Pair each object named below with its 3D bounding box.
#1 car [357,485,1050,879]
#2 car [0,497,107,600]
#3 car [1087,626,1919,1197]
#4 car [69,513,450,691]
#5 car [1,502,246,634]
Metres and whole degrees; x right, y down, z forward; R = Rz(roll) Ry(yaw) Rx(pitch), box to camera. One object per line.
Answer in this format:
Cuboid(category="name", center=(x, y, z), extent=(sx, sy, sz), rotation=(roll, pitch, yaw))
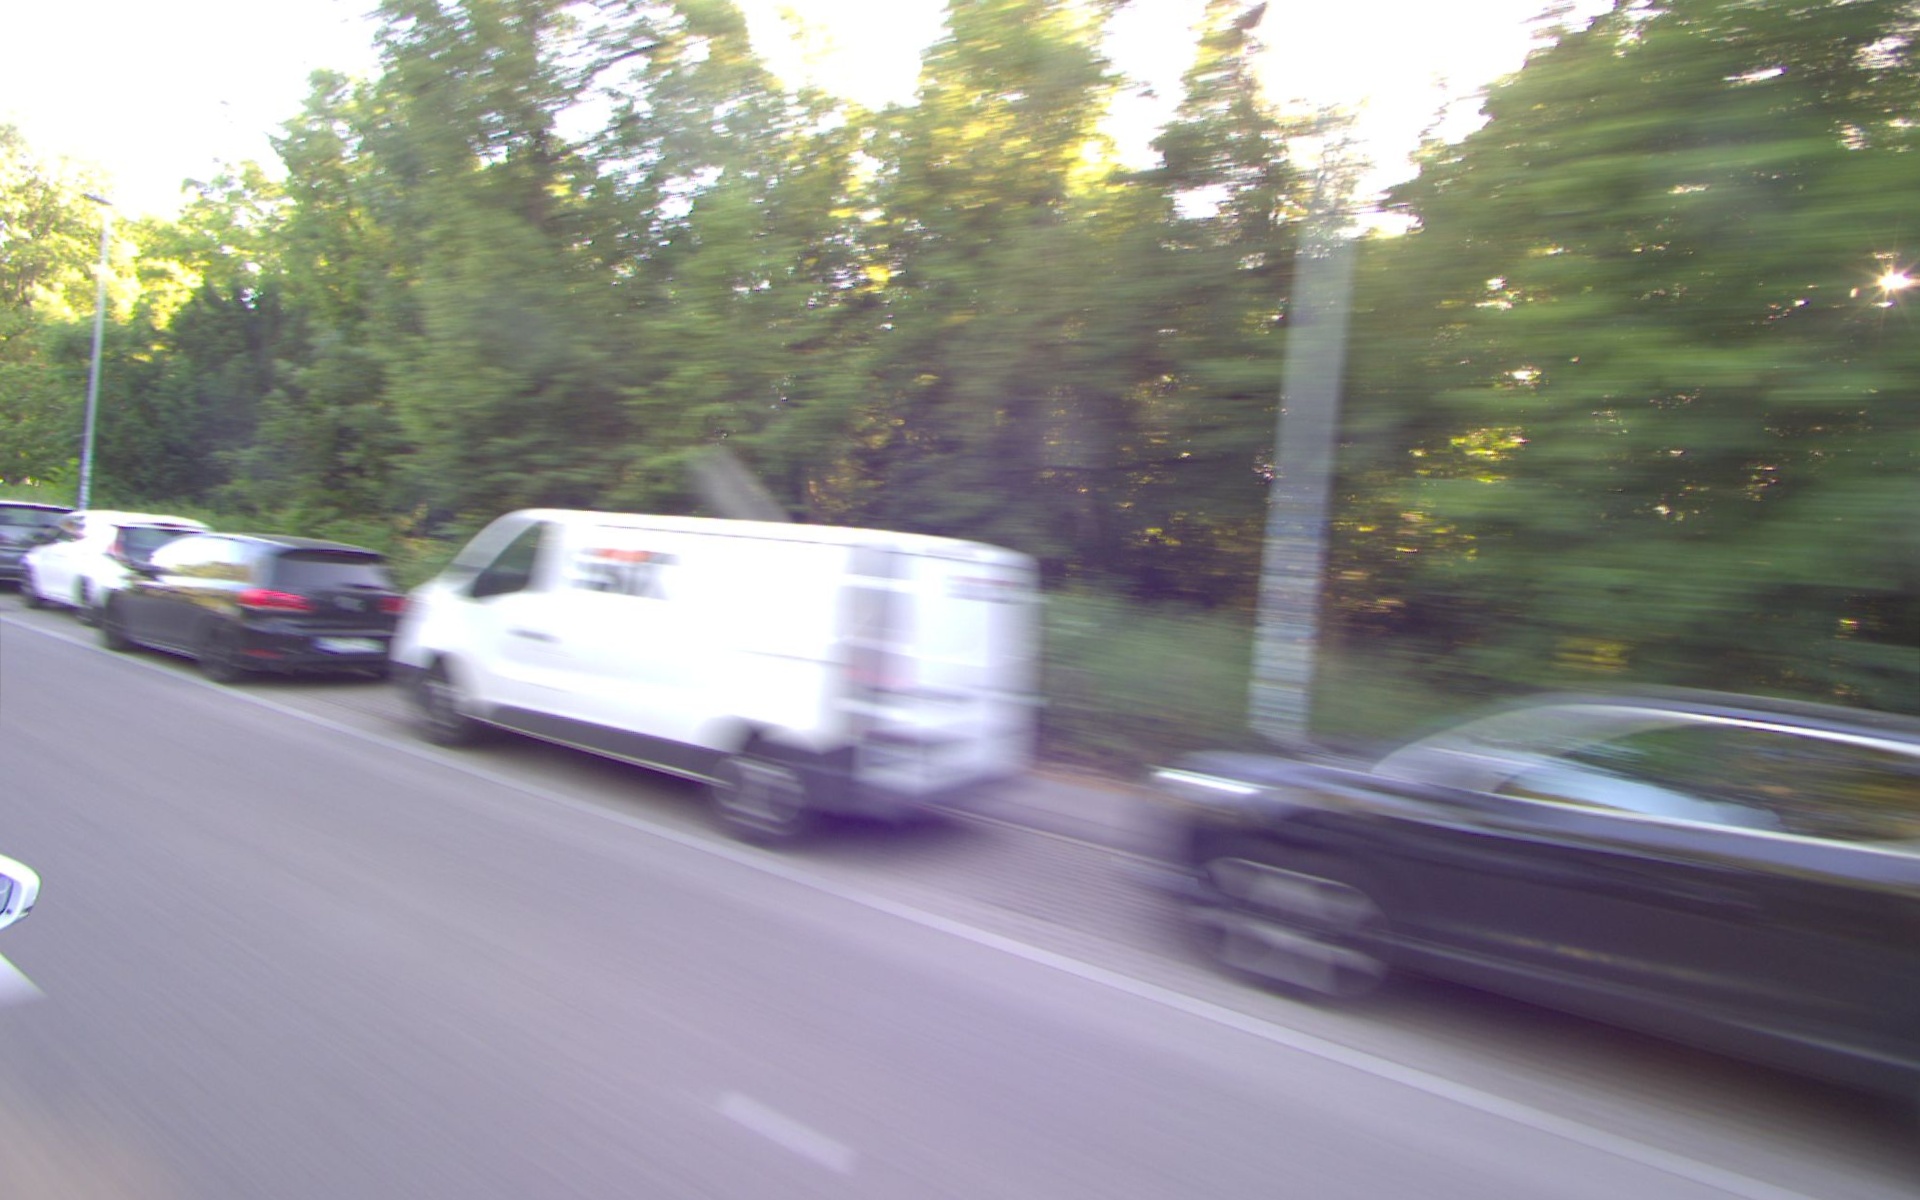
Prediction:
Cuboid(category="car", center=(-2.213, 0.335, 7.746), extent=(5.385, 2.007, 1.869), rotation=(6, 1, 32))
Cuboid(category="car", center=(-15.734, -0.950, 16.484), extent=(3.879, 1.472, 1.586), rotation=(6, 1, 33))
Cuboid(category="car", center=(2.985, 1.150, 4.484), extent=(4.356, 1.567, 1.760), rotation=(6, 1, 32))
Cuboid(category="car", center=(-7.778, -0.032, 11.066), extent=(4.297, 1.424, 1.869), rotation=(6, 1, 32))
Cuboid(category="car", center=(-11.821, -0.471, 14.156), extent=(3.737, 1.472, 1.586), rotation=(6, 1, 33))
